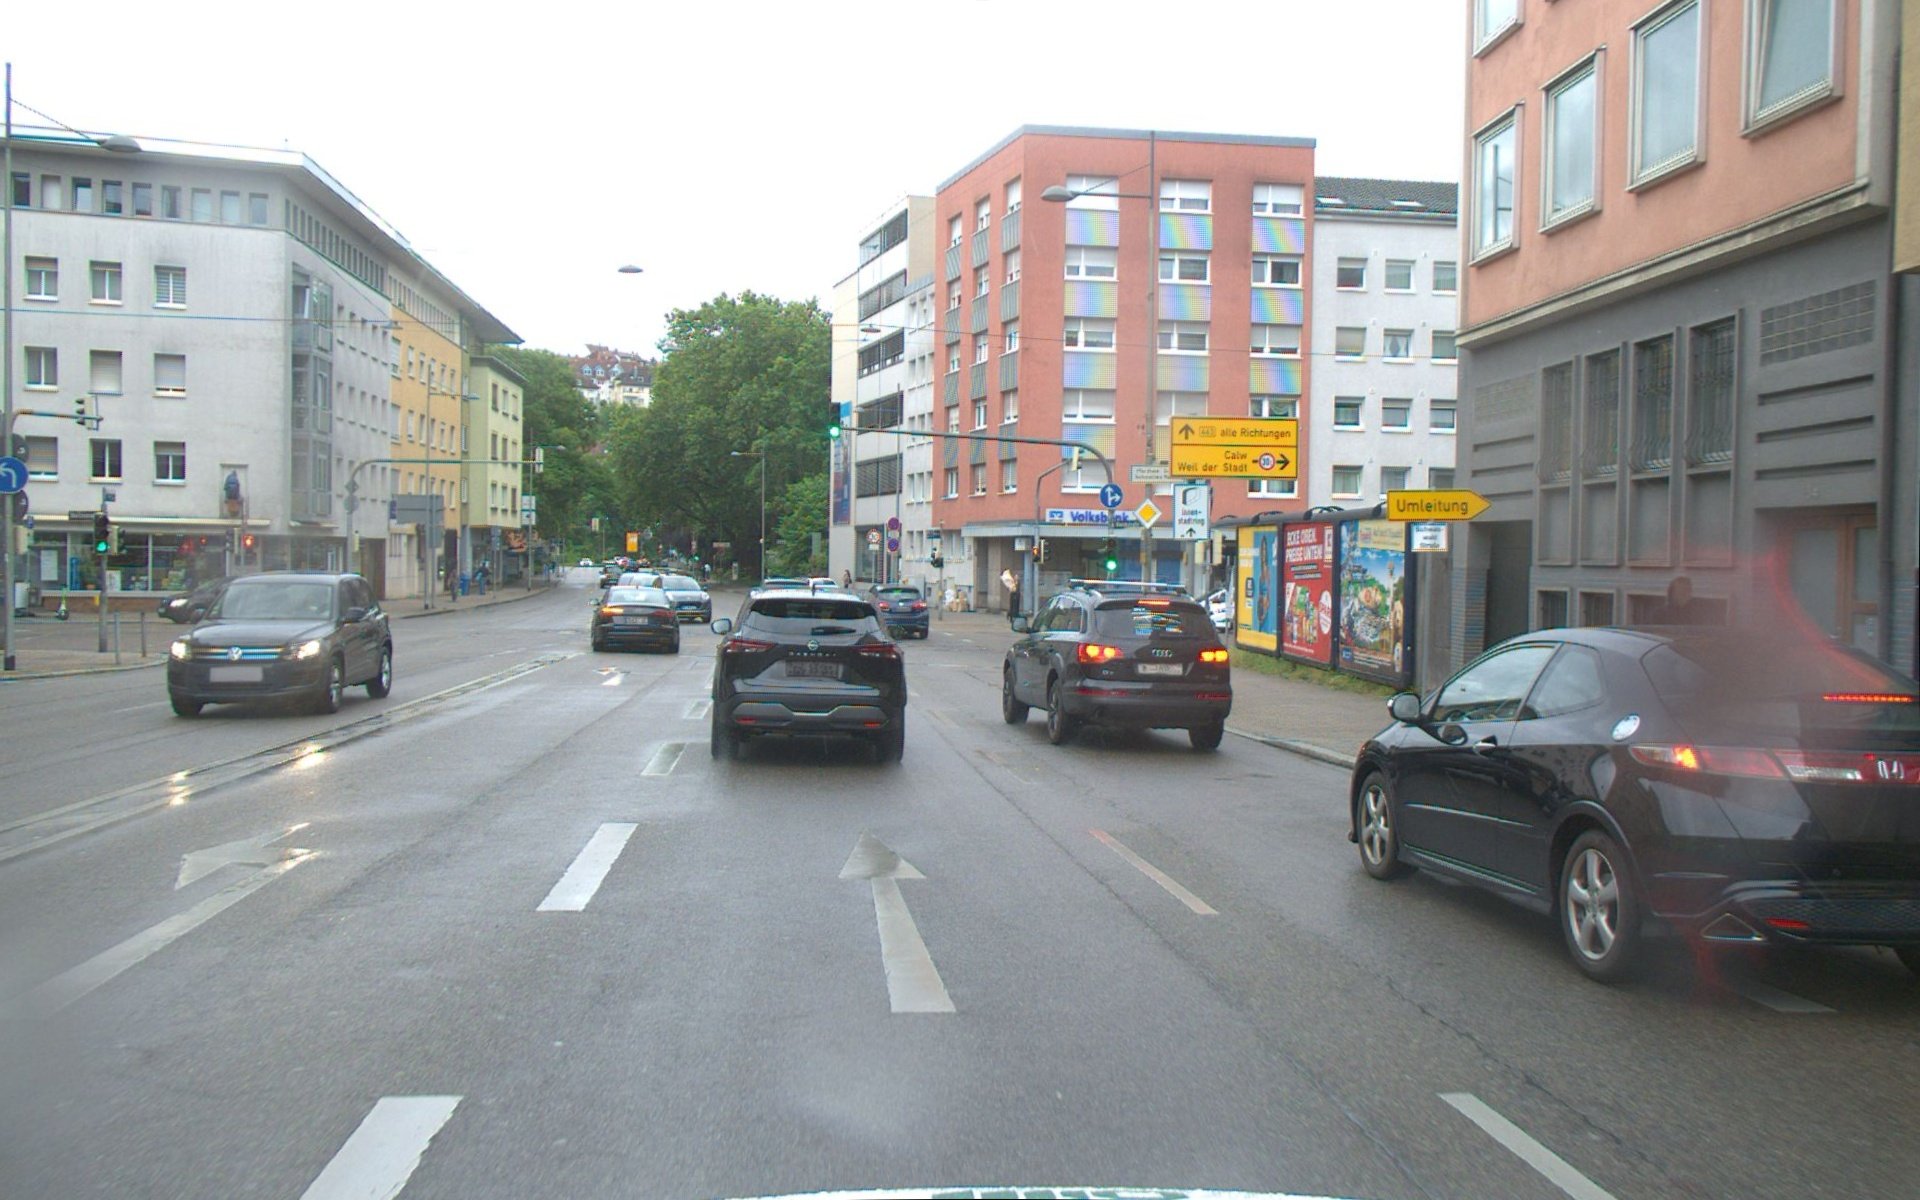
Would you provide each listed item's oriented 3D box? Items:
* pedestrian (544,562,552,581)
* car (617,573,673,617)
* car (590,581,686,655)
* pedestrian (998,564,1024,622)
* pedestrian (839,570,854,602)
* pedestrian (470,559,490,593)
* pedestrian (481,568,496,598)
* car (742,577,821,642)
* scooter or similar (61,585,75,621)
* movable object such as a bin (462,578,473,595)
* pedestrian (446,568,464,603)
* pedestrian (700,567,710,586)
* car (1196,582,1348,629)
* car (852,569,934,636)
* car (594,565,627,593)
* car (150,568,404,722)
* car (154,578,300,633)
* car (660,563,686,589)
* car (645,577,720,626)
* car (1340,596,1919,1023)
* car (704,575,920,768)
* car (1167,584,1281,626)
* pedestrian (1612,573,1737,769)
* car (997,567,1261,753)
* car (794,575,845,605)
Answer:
[{"bbox_3d":[-40.240,-2.787,161.478,0.657,1.822,0.717,2,1,-20],"label":"pedestrian"},{"bbox_3d":[-11.789,-0.189,61.717,1.901,1.553,4.121,0,0,-13],"label":"car"},{"bbox_3d":[-7.300,0.360,37.328,1.959,1.412,4.487,2,1,-12],"label":"car"},{"bbox_3d":[1.971,-0.287,63.767,0.810,2.195,0.768,2,1,-8],"label":"pedestrian"},{"bbox_3d":[-6.401,-0.780,93.271,0.603,1.767,0.677,-1,1,-21],"label":"pedestrian"},{"bbox_3d":[-26.926,-1.356,92.804,0.849,1.819,0.873,3,0,-8],"label":"pedestrian"},{"bbox_3d":[-27.048,-0.968,94.851,0.784,1.717,0.814,1,1,-14],"label":"pedestrian"},{"bbox_3d":[-5.087,0.229,46.738,1.911,1.714,3.990,-1,1,-10],"label":"car"},{"bbox_3d":[-29.266,0.101,54.240,0.360,1.113,1.124,-1,4,-30],"label":"scooter or similar"},{"bbox_3d":[-26.803,-0.732,90.022,0.445,0.945,0.502,1,1,-7],"label":"movable object such as a bin"},{"bbox_3d":[-24.274,-0.702,79.505,0.673,1.608,0.651,3,1,-6],"label":"pedestrian"},{"bbox_3d":[-25.903,-2.391,168.051,0.707,1.822,0.666,3,1,35],"label":"pedestrian"},{"bbox_3d":[10.281,0.166,54.618,4.565,1.512,1.916,0,1,-9],"label":"car"},{"bbox_3d":[-2.025,0.035,48.717,1.910,1.848,3.991,-1,1,-10],"label":"car"},{"bbox_3d":[-25.443,-1.564,120.480,1.956,1.892,3.993,2,1,-8],"label":"car"},{"bbox_3d":[-8.239,0.468,20.363,1.827,1.676,4.247,-1,1,-8],"label":"car"},{"bbox_3d":[-23.301,0.157,52.693,1.664,1.655,3.984,0,1,36],"label":"car"},{"bbox_3d":[-22.057,-1.849,126.960,1.788,1.827,3.855,2,1,-11],"label":"car"},{"bbox_3d":[-9.464,0.032,56.250,1.828,1.580,4.203,0,1,-19],"label":"car"},{"bbox_3d":[3.381,0.797,8.031,1.749,1.523,4.050,1,-1,-6],"label":"car"},{"bbox_3d":[-1.536,0.622,16.494,1.858,1.657,3.994,1,0,-7],"label":"car"},{"bbox_3d":[9.778,0.173,61.440,3.872,1.512,1.700,0,1,-8],"label":"car"},{"bbox_3d":[6.903,0.656,16.023,0.659,1.819,1.095,1,1,-3],"label":"pedestrian"},{"bbox_3d":[1.831,0.606,19.666,1.983,1.902,4.890,1,0,-8],"label":"car"},{"bbox_3d":[-7.214,-0.548,84.612,1.745,1.425,4.560,-1,2,-16],"label":"car"}]
